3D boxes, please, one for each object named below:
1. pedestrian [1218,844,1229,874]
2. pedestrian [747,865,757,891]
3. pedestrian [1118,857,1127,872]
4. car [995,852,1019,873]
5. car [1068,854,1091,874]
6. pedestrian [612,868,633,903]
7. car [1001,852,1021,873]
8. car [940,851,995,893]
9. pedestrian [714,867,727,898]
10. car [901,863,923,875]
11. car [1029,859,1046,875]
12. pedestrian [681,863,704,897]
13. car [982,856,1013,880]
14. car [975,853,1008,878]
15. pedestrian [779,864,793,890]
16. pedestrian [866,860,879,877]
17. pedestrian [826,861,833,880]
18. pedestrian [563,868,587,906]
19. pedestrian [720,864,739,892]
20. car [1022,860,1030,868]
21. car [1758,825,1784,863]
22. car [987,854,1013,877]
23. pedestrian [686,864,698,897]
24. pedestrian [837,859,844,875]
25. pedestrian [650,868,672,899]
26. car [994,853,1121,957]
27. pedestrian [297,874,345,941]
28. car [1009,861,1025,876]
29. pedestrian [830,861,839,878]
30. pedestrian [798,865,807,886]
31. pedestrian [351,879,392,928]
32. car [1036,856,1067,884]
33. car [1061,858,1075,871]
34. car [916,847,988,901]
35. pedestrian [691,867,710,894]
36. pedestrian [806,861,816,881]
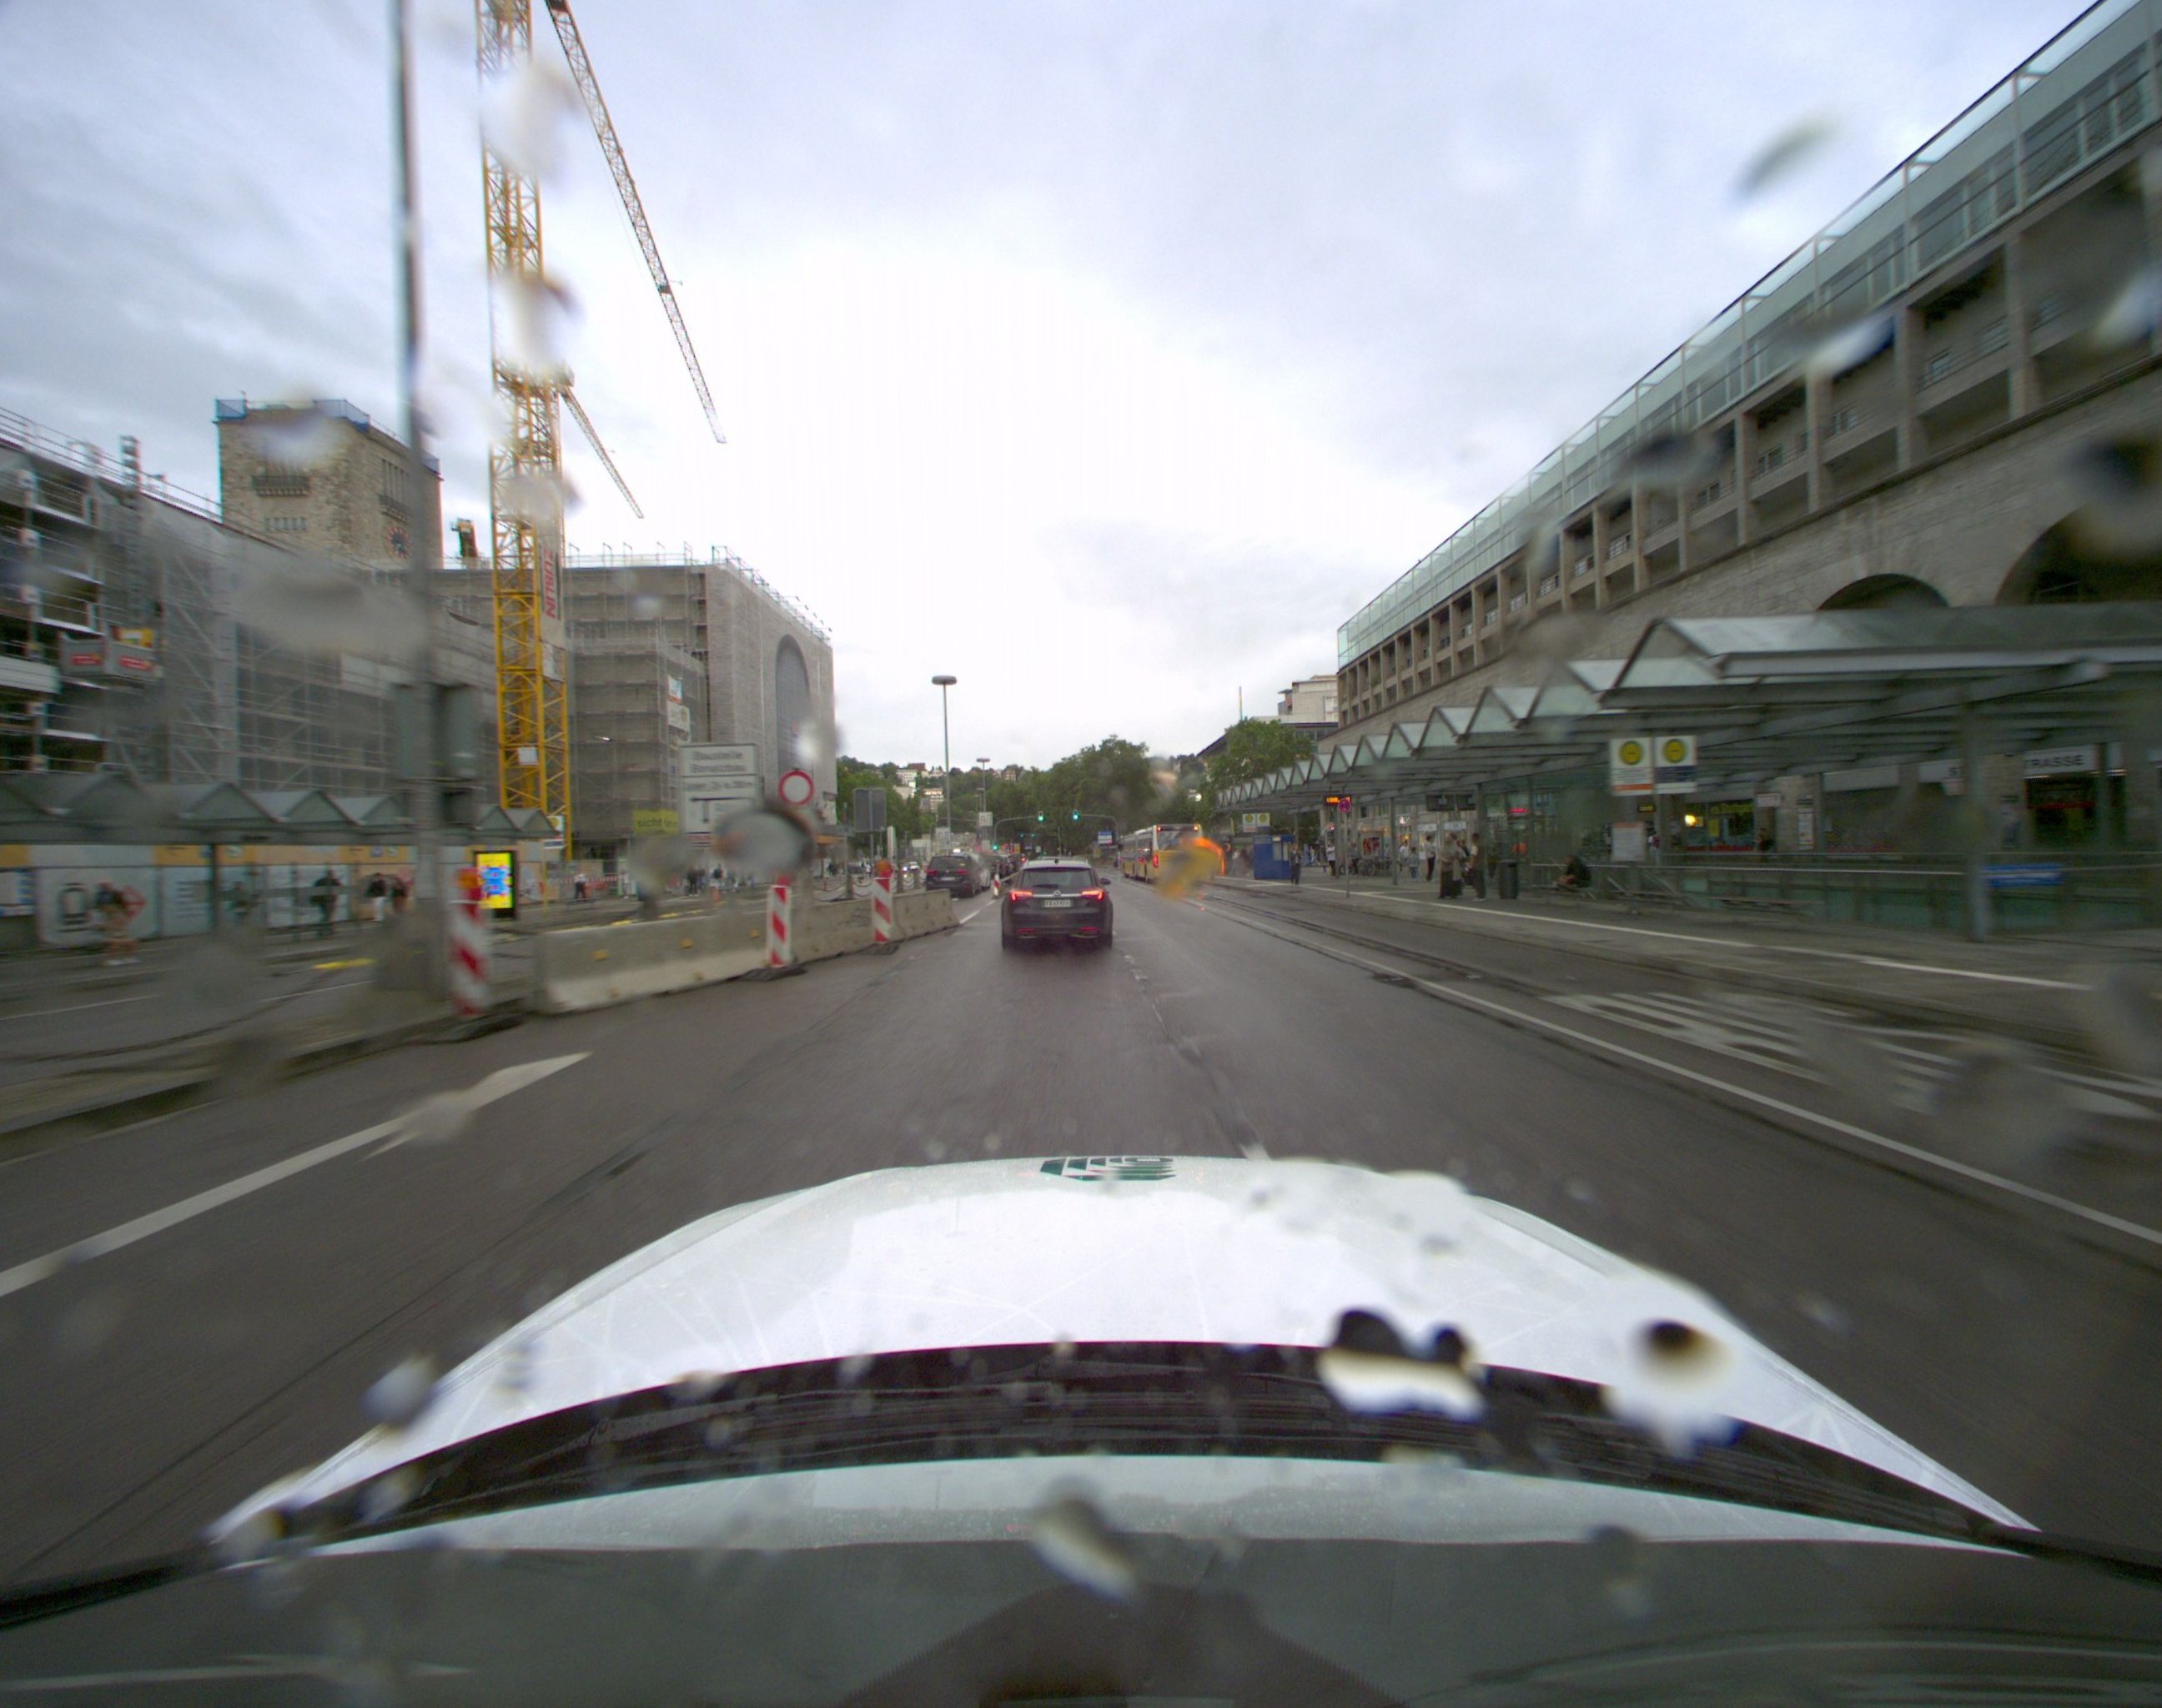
[{"bbox_3d":[8.809,0.326,50.449,0.563,1.836,0.569,-1,0,1],"label":"pedestrian"},{"bbox_3d":[-23.994,1.765,59.455,0.571,1.841,0.701,-1,0,-16],"label":"pedestrian"},{"bbox_3d":[4.864,1.261,95.315,0.873,1.691,0.757,-2,0,-3],"label":"pedestrian"},{"bbox_3d":[-6.726,0.791,74.302,1.989,1.787,4.842,-2,0,-3],"label":"car"},{"bbox_3d":[-0.143,0.927,75.080,1.848,1.717,3.994,-1,-1,-4],"label":"car"},{"bbox_3d":[-25.050,1.711,44.513,0.718,1.841,0.612,-1,0,2],"label":"pedestrian"},{"bbox_3d":[-6.803,0.834,79.801,1.709,1.892,4.605,-2,0,-2],"label":"car"},{"bbox_3d":[-5.062,0.791,36.868,1.989,1.706,4.826,-2,0,-3],"label":"car"},{"bbox_3d":[-21.416,1.686,48.386,0.507,1.841,0.702,-1,0,-8],"label":"pedestrian"},{"bbox_3d":[-21.360,1.857,103.179,1.988,1.468,3.997,-1,-1,-2],"label":"car"},{"bbox_3d":[-5.559,1.660,103.805,1.981,2.014,4.361,-1,-1,-5],"label":"car"},{"bbox_3d":[-21.836,1.465,45.761,0.695,1.841,0.883,-2,0,27],"label":"pedestrian"},{"bbox_3d":[-6.404,1.022,63.000,2.045,1.711,5.048,-2,0,-3],"label":"car"},{"bbox_3d":[-6.220,0.780,56.847,1.989,1.654,4.636,-2,0,-3],"label":"car"},{"bbox_3d":[-21.764,1.671,60.082,0.877,1.841,0.834,-1,0,-16],"label":"pedestrian"},{"bbox_3d":[-23.830,1.653,92.985,0.975,1.841,1.046,-2,0,18],"label":"pedestrian"},{"bbox_3d":[-25.682,1.670,83.168,0.535,1.841,0.770,-1,0,-5],"label":"pedestrian"},{"bbox_3d":[-24.955,1.618,40.185,0.739,1.841,0.656,-1,0,2],"label":"pedestrian"},{"bbox_3d":[-24.011,1.643,55.644,0.836,1.841,1.058,-1,0,2],"label":"pedestrian"},{"bbox_3d":[-11.320,2.131,167.732,1.703,1.665,3.700,-1,-1,-4],"label":"car"},{"bbox_3d":[28.601,-0.399,33.766,0.587,1.539,0.567,-1,-1,1],"label":"car"},{"bbox_3d":[-6.758,0.937,68.336,1.990,1.787,4.447,-2,0,-4],"label":"car"},{"bbox_3d":[-22.137,1.506,46.377,0.336,1.841,0.511,-1,0,14],"label":"pedestrian"},{"bbox_3d":[-28.054,1.485,95.064,0.676,1.841,0.716,-1,0,-16],"label":"pedestrian"},{"bbox_3d":[-25.253,1.751,49.013,0.799,1.841,0.868,-1,0,2],"label":"pedestrian"},{"bbox_3d":[-0.356,0.779,14.652,1.872,1.508,4.850,-1,0,0],"label":"car"},{"bbox_3d":[-21.692,1.515,23.238,0.738,1.841,0.705,-2,0,18],"label":"pedestrian"},{"bbox_3d":[-8.421,1.913,107.359,1.991,1.845,5.051,-1,-1,-6],"label":"car"},{"bbox_3d":[-27.106,1.724,89.595,0.777,1.841,0.771,-2,0,-3],"label":"pedestrian"},{"bbox_3d":[-23.151,1.753,67.701,0.683,1.685,0.834,-1,0,-16],"label":"pedestrian"},{"bbox_3d":[-25.407,1.768,29.170,0.802,1.670,0.700,-1,0,-7],"label":"pedestrian"},{"bbox_3d":[-1.866,0.976,52.567,1.825,1.686,4.132,-2,0,-1],"label":"car"},{"bbox_3d":[-1.590,1.284,98.489,1.670,1.581,3.236,-1,-1,-3],"label":"car"},{"bbox_3d":[-4.916,0.729,31.665,1.987,1.862,4.831,-2,0,0],"label":"car"},{"bbox_3d":[-26.245,1.802,56.197,0.799,1.841,0.851,-1,0,2],"label":"pedestrian"},{"bbox_3d":[-25.507,1.607,76.892,0.772,1.841,0.830,-1,0,-16],"label":"pedestrian"}]
